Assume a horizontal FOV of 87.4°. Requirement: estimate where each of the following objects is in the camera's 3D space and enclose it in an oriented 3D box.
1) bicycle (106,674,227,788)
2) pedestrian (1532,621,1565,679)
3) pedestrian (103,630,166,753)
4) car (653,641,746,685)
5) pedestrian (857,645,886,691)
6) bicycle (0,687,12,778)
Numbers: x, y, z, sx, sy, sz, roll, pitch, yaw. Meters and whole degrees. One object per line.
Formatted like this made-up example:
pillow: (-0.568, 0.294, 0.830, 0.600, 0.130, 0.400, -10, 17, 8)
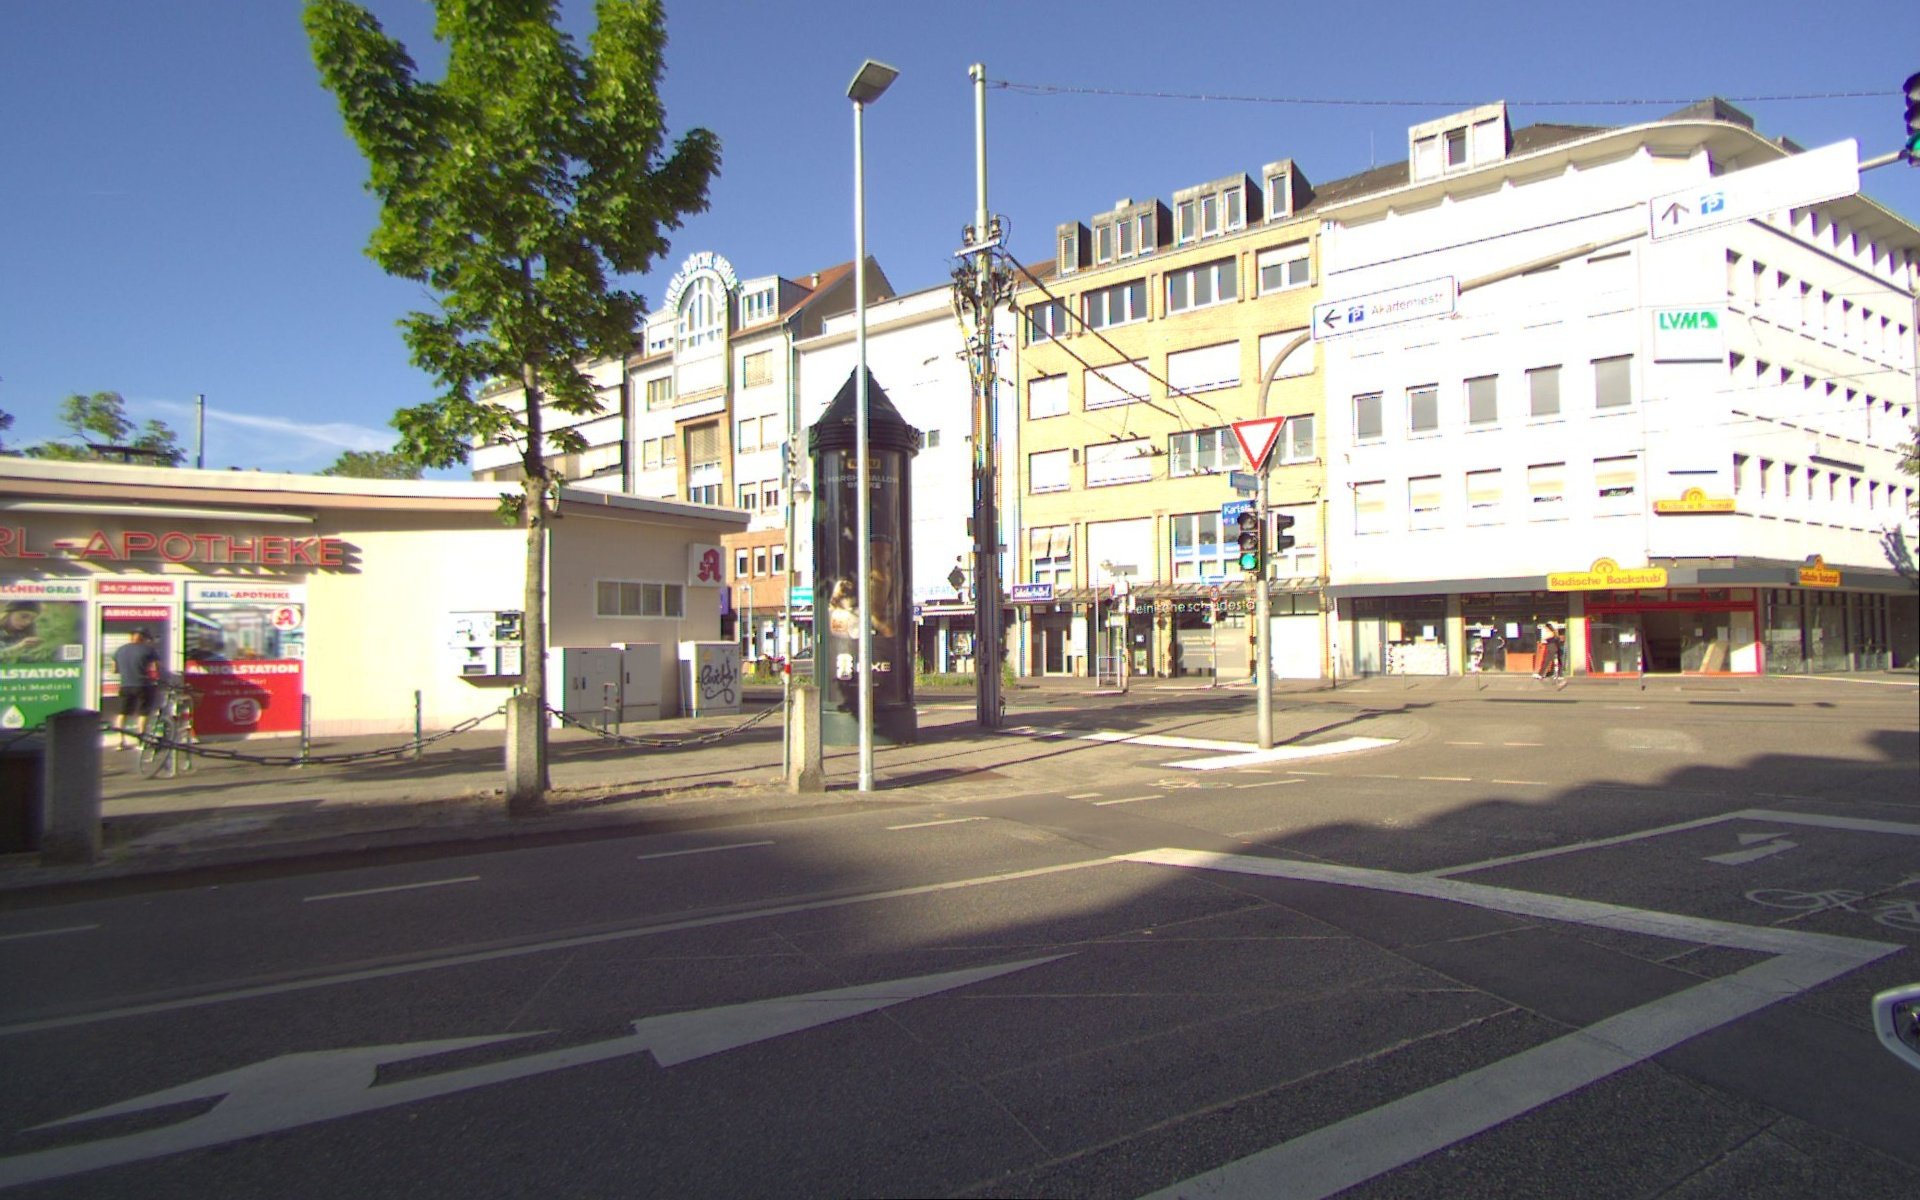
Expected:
bicycle: (-9.057, 1.444, 11.549, 0.744, 1.102, 1.980, 0, -2, -28)
pedestrian: (18.064, 1.533, 30.830, 0.705, 1.731, 0.555, 1, -3, -33)
pedestrian: (-11.967, 1.306, 14.573, 0.604, 1.731, 0.516, 1, -3, -31)
car: (-12.817, 3.066, 49.292, 4.768, 2.040, 1.992, -3, -3, 39)
pedestrian: (-3.300, 2.514, 37.494, 0.899, 1.685, 0.946, -1, -3, 7)
bicycle: (-11.021, 1.467, 10.414, 0.873, 1.015, 2.013, 0, -2, -16)
